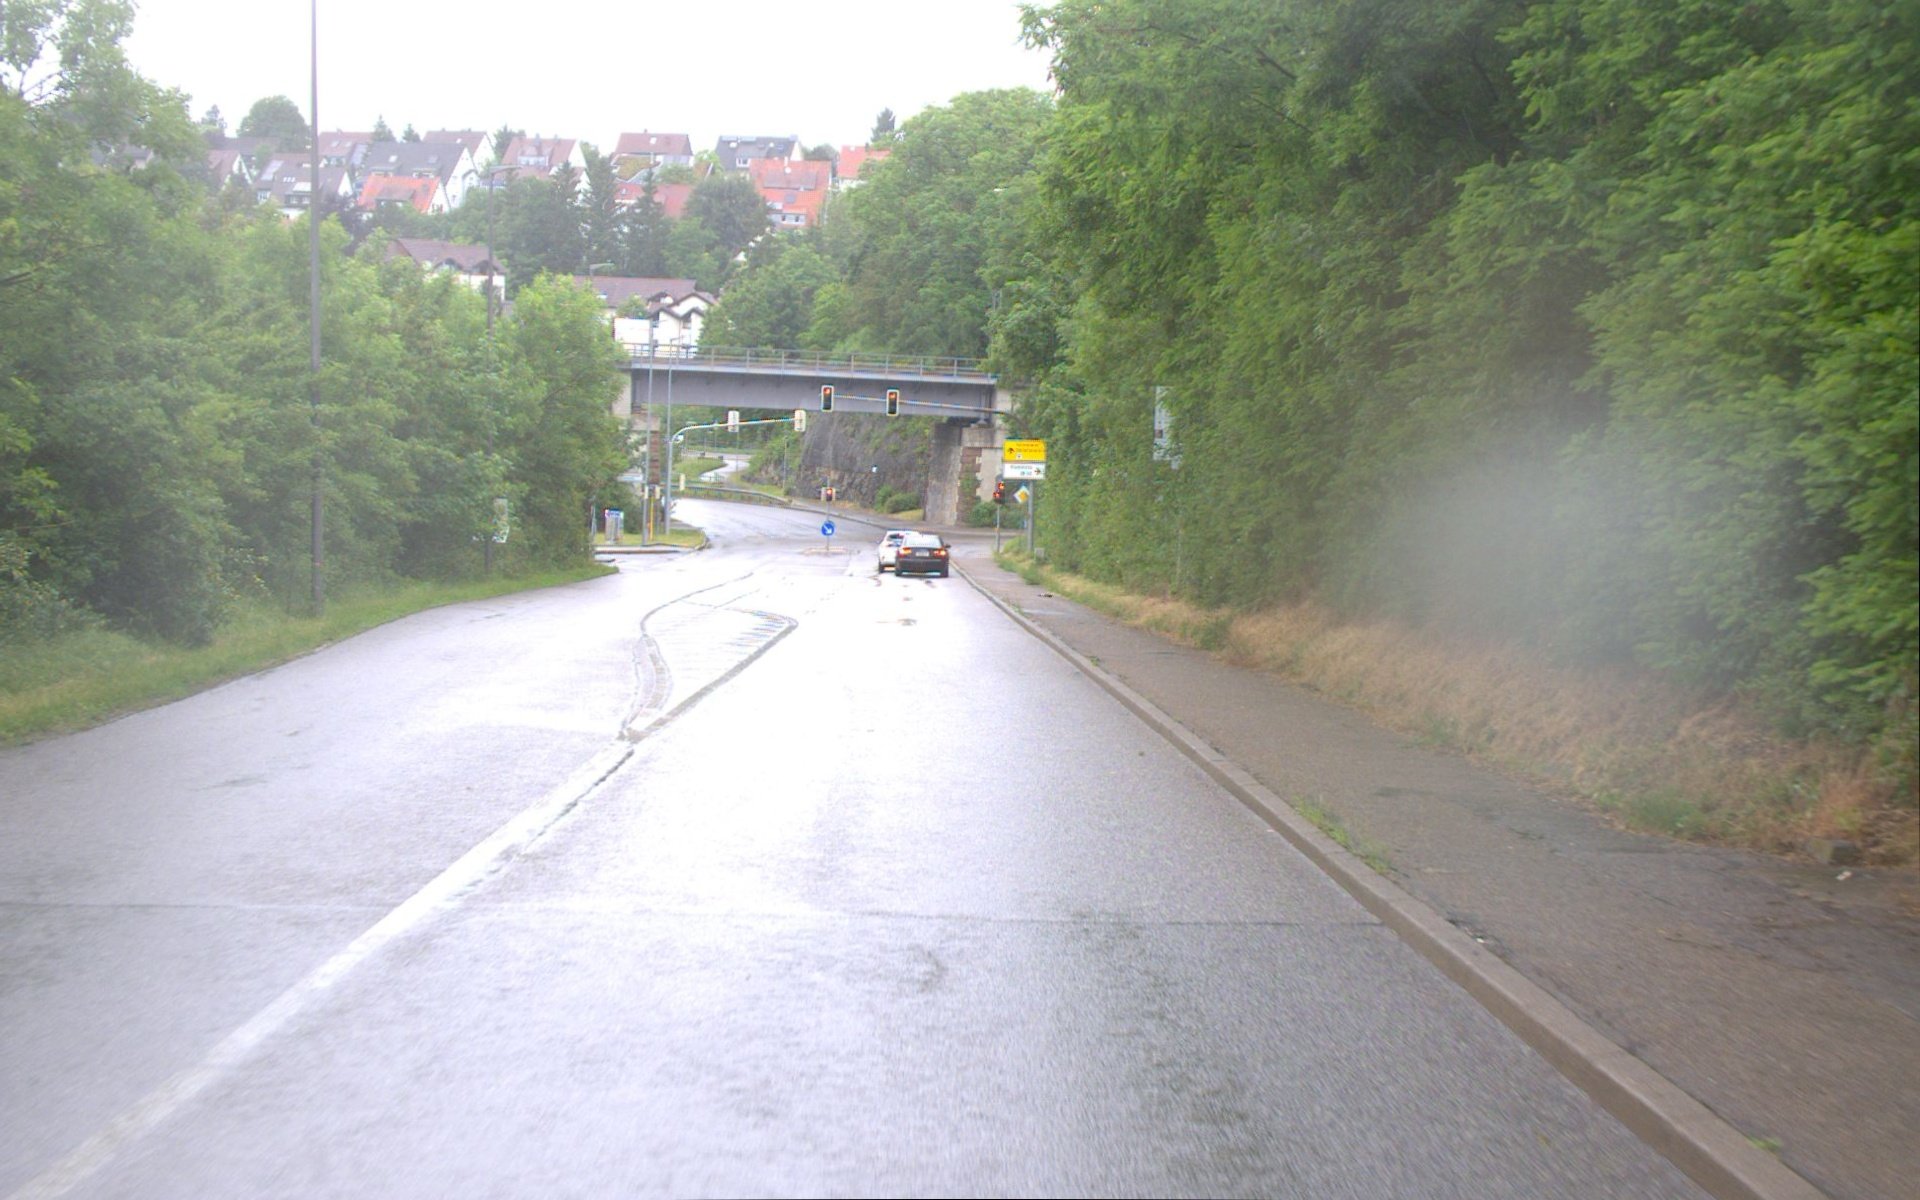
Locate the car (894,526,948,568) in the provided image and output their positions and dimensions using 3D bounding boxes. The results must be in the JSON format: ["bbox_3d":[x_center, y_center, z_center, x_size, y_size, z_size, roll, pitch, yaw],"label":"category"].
[{"bbox_3d":[-1.284,-1.793,115.319,1.768,1.375,4.000,0,1,0],"label":"car"}]

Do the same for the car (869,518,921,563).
[{"bbox_3d":[-2.301,-2.103,121.972,1.768,1.557,4.000,0,1,0],"label":"car"}]
